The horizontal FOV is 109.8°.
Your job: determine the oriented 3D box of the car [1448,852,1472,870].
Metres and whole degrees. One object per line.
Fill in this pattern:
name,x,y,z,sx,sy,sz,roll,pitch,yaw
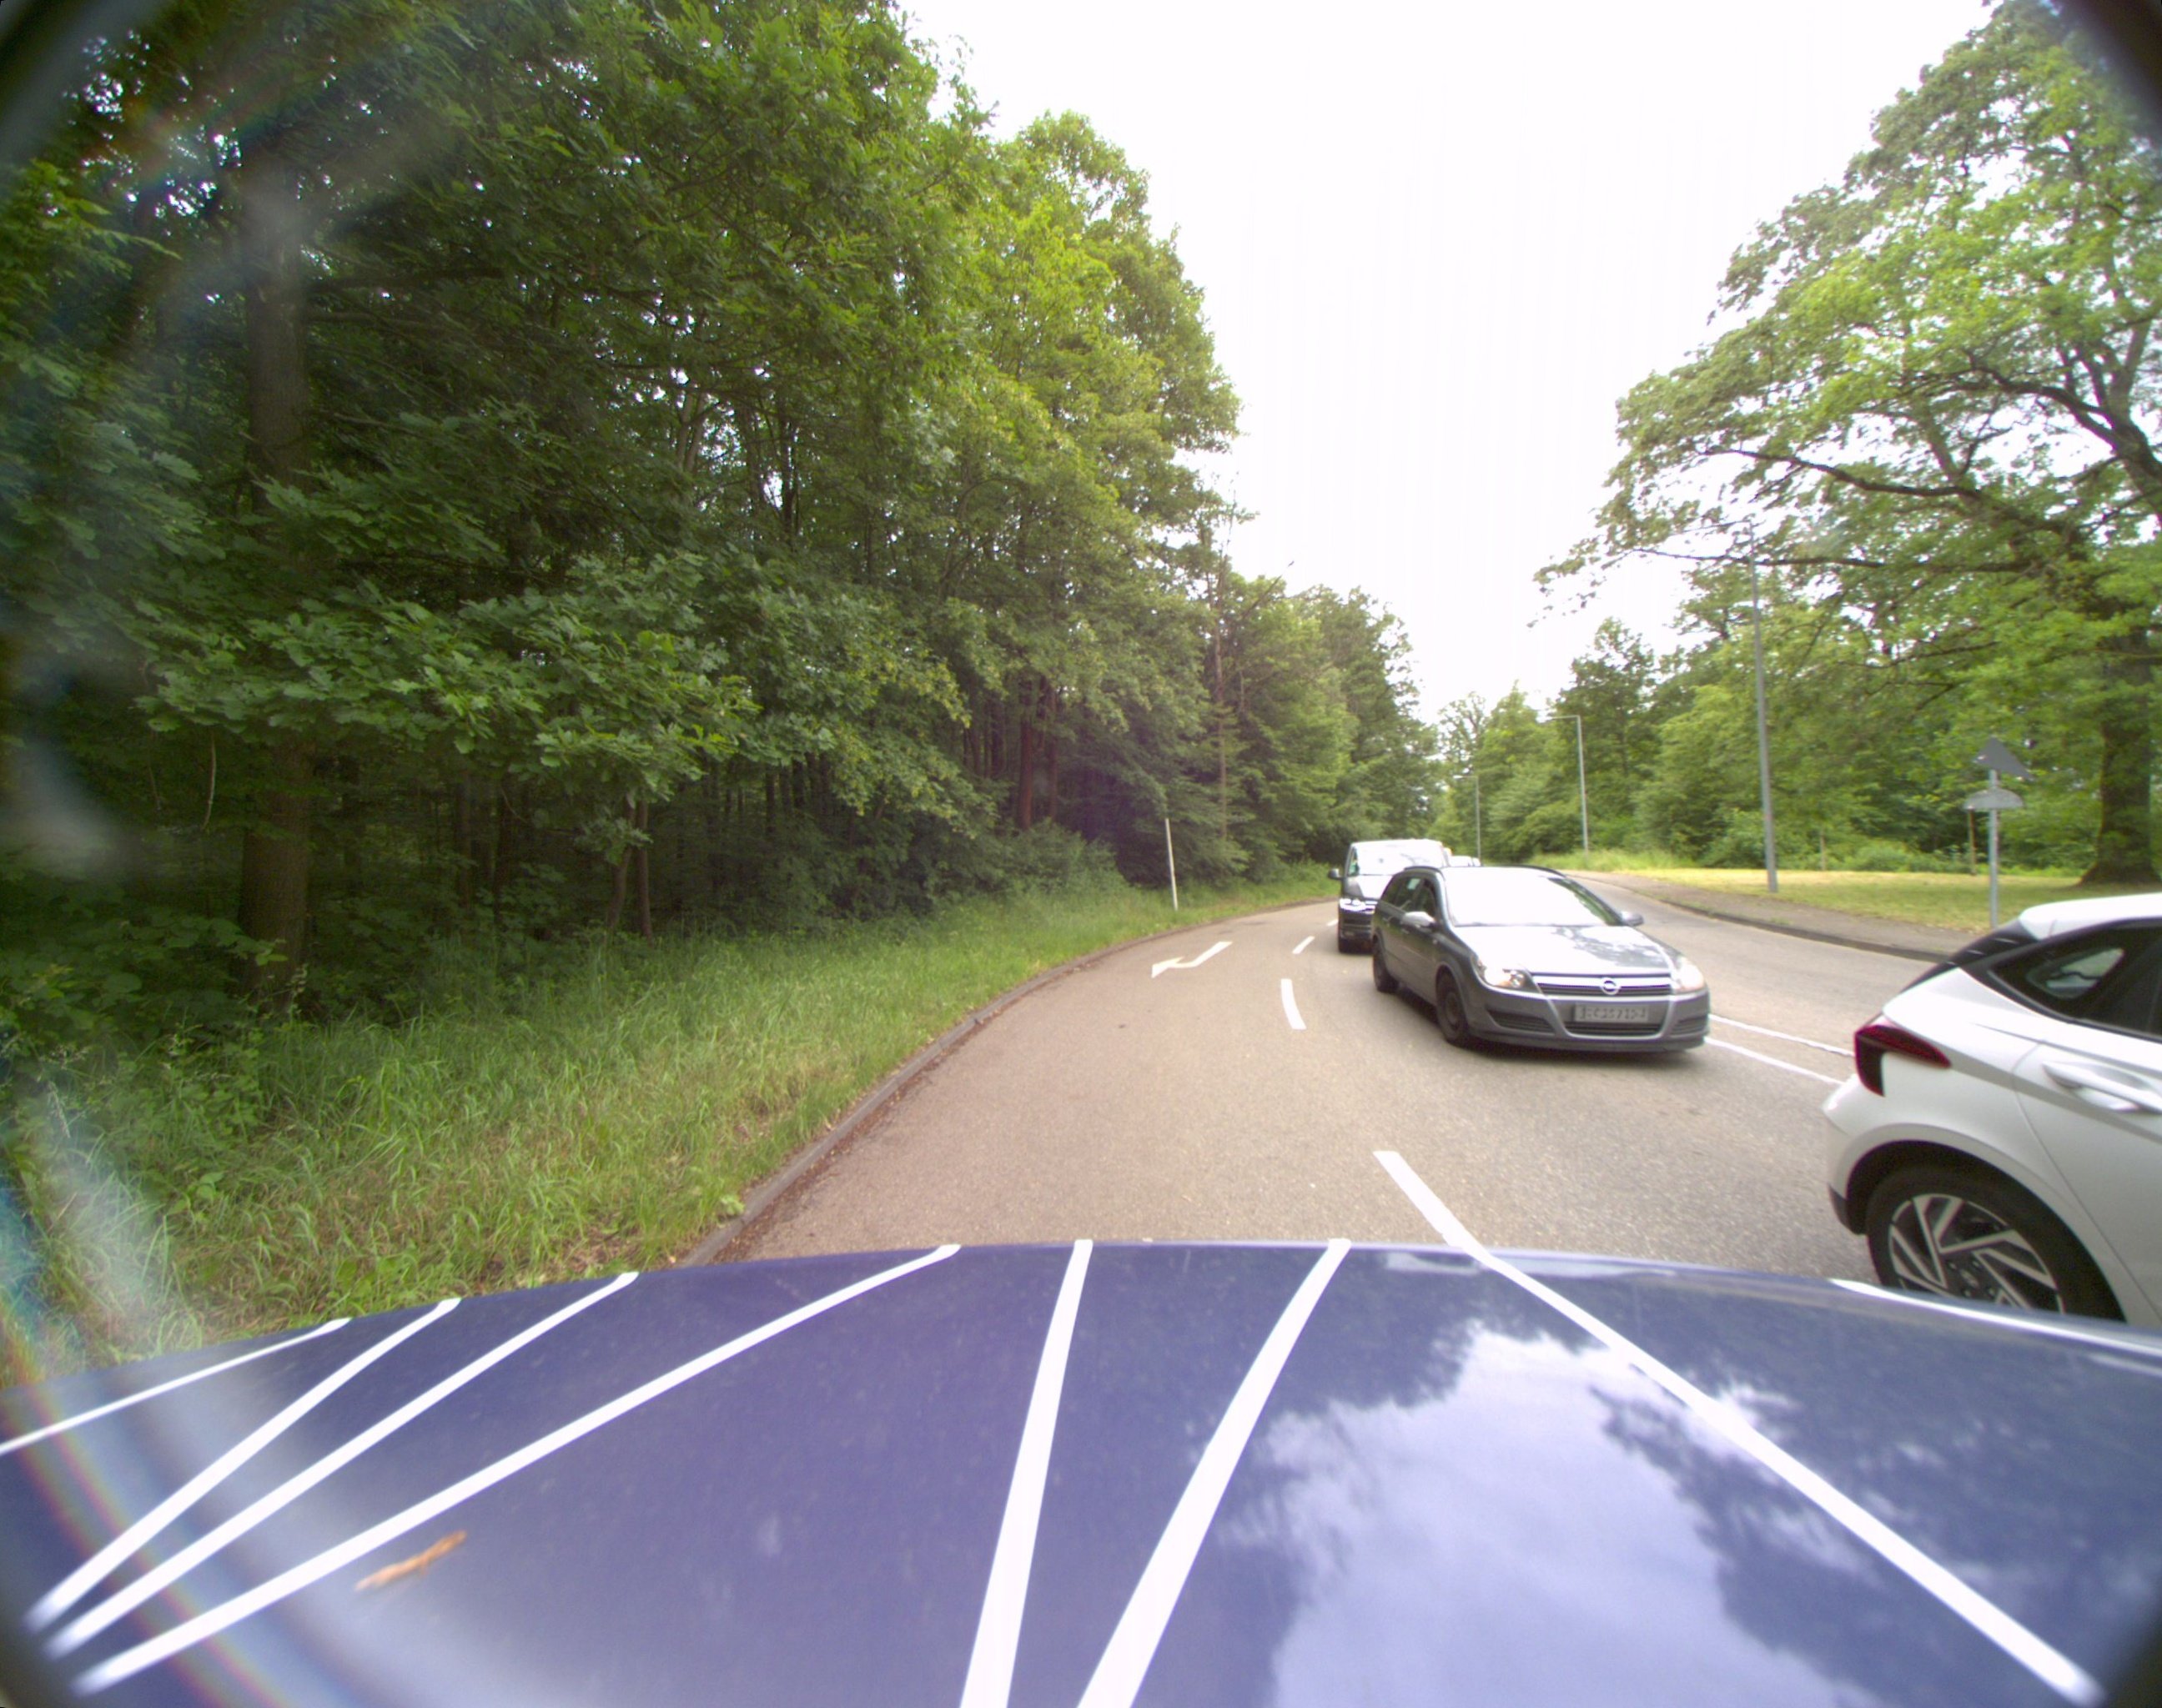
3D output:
car,34.164,0.633,68.469,1.775,1.490,3.880,-2,-1,28

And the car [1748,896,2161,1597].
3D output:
car,3.141,0.869,0.660,1.653,1.470,4.074,-1,-1,3

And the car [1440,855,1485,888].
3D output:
car,18.171,0.801,36.301,1.775,1.490,3.880,-2,-1,25

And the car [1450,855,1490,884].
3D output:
car,20.951,0.818,41.019,1.775,1.490,3.880,-2,-1,25

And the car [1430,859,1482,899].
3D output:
car,15.201,0.994,30.945,1.775,1.490,3.880,-2,-1,25

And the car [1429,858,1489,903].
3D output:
car,13.446,0.901,27.167,1.775,1.490,3.880,-2,-1,25

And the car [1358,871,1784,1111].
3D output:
car,3.968,0.938,7.178,1.801,1.470,4.474,-1,-1,11

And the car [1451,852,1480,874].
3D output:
car,27.562,0.651,54.408,1.775,1.490,3.880,-2,-1,28

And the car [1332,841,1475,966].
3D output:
car,5.724,0.771,13.798,1.987,1.861,4.539,-1,-1,21
